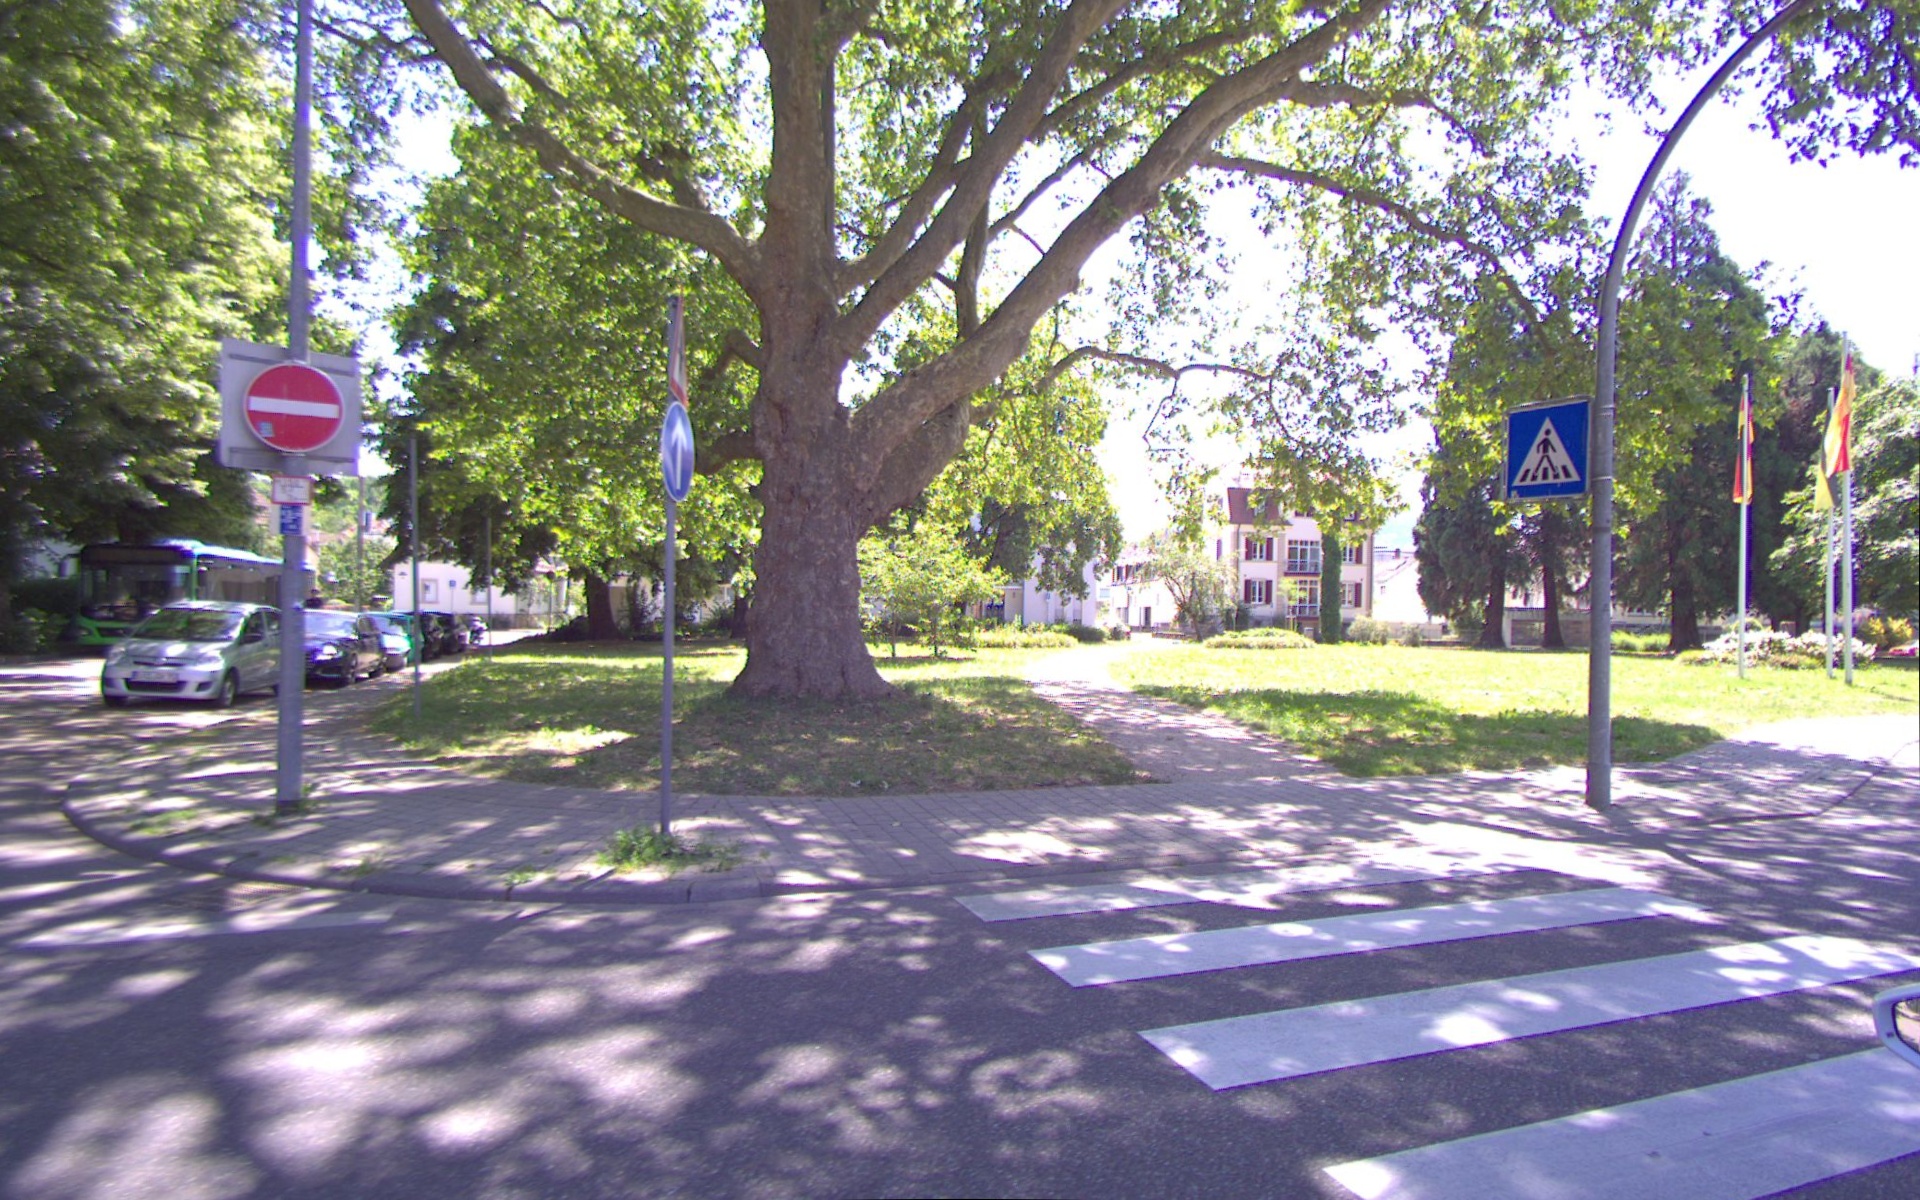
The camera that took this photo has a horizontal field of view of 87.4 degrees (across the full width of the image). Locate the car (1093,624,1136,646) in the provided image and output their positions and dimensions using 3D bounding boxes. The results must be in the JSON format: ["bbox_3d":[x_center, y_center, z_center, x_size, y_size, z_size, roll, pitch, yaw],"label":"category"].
[{"bbox_3d":[11.934,2.725,77.894,1.965,1.604,3.991,2,-2,-12],"label":"car"}]

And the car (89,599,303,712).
[{"bbox_3d":[-11.594,0.787,15.505,1.576,1.517,3.470,3,-1,-20],"label":"car"}]

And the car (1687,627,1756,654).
[{"bbox_3d":[57.186,3.014,75.481,3.928,1.775,1.873,3,1,-9],"label":"car"}]

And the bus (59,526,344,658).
[{"bbox_3d":[-24.076,-0.106,33.399,2.833,3.338,15.880,1,-1,-20],"label":"bus"}]

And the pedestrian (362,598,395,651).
[{"bbox_3d":[-20.273,0.847,35.038,0.710,1.826,0.938,1,0,-14],"label":"pedestrian"}]

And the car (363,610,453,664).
[{"bbox_3d":[-16.849,1.092,30.877,1.733,1.513,4.355,1,-1,-20],"label":"car"}]

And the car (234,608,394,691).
[{"bbox_3d":[-13.103,0.946,20.671,1.729,1.458,4.483,3,-1,-20],"label":"car"}]

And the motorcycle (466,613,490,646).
[{"bbox_3d":[-21.834,1.321,45.502,0.702,1.445,2.252,1,-1,-19],"label":"motorcycle"}]

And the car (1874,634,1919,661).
[{"bbox_3d":[72.980,3.695,77.242,3.928,1.862,1.873,3,1,-9],"label":"car"}]

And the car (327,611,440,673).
[{"bbox_3d":[-15.115,1.052,26.597,1.729,1.458,4.748,1,-1,-20],"label":"car"}]

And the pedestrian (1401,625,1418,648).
[{"bbox_3d":[27.582,2.243,61.670,0.812,1.389,0.617,3,2,30],"label":"pedestrian"}]

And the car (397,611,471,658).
[{"bbox_3d":[-18.366,1.175,35.208,1.733,1.513,3.900,1,-1,-20],"label":"car"}]

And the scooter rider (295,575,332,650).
[{"bbox_3d":[-20.574,0.405,32.000,0.729,2.348,0.923,1,0,-17],"label":"scooter rider"}]
